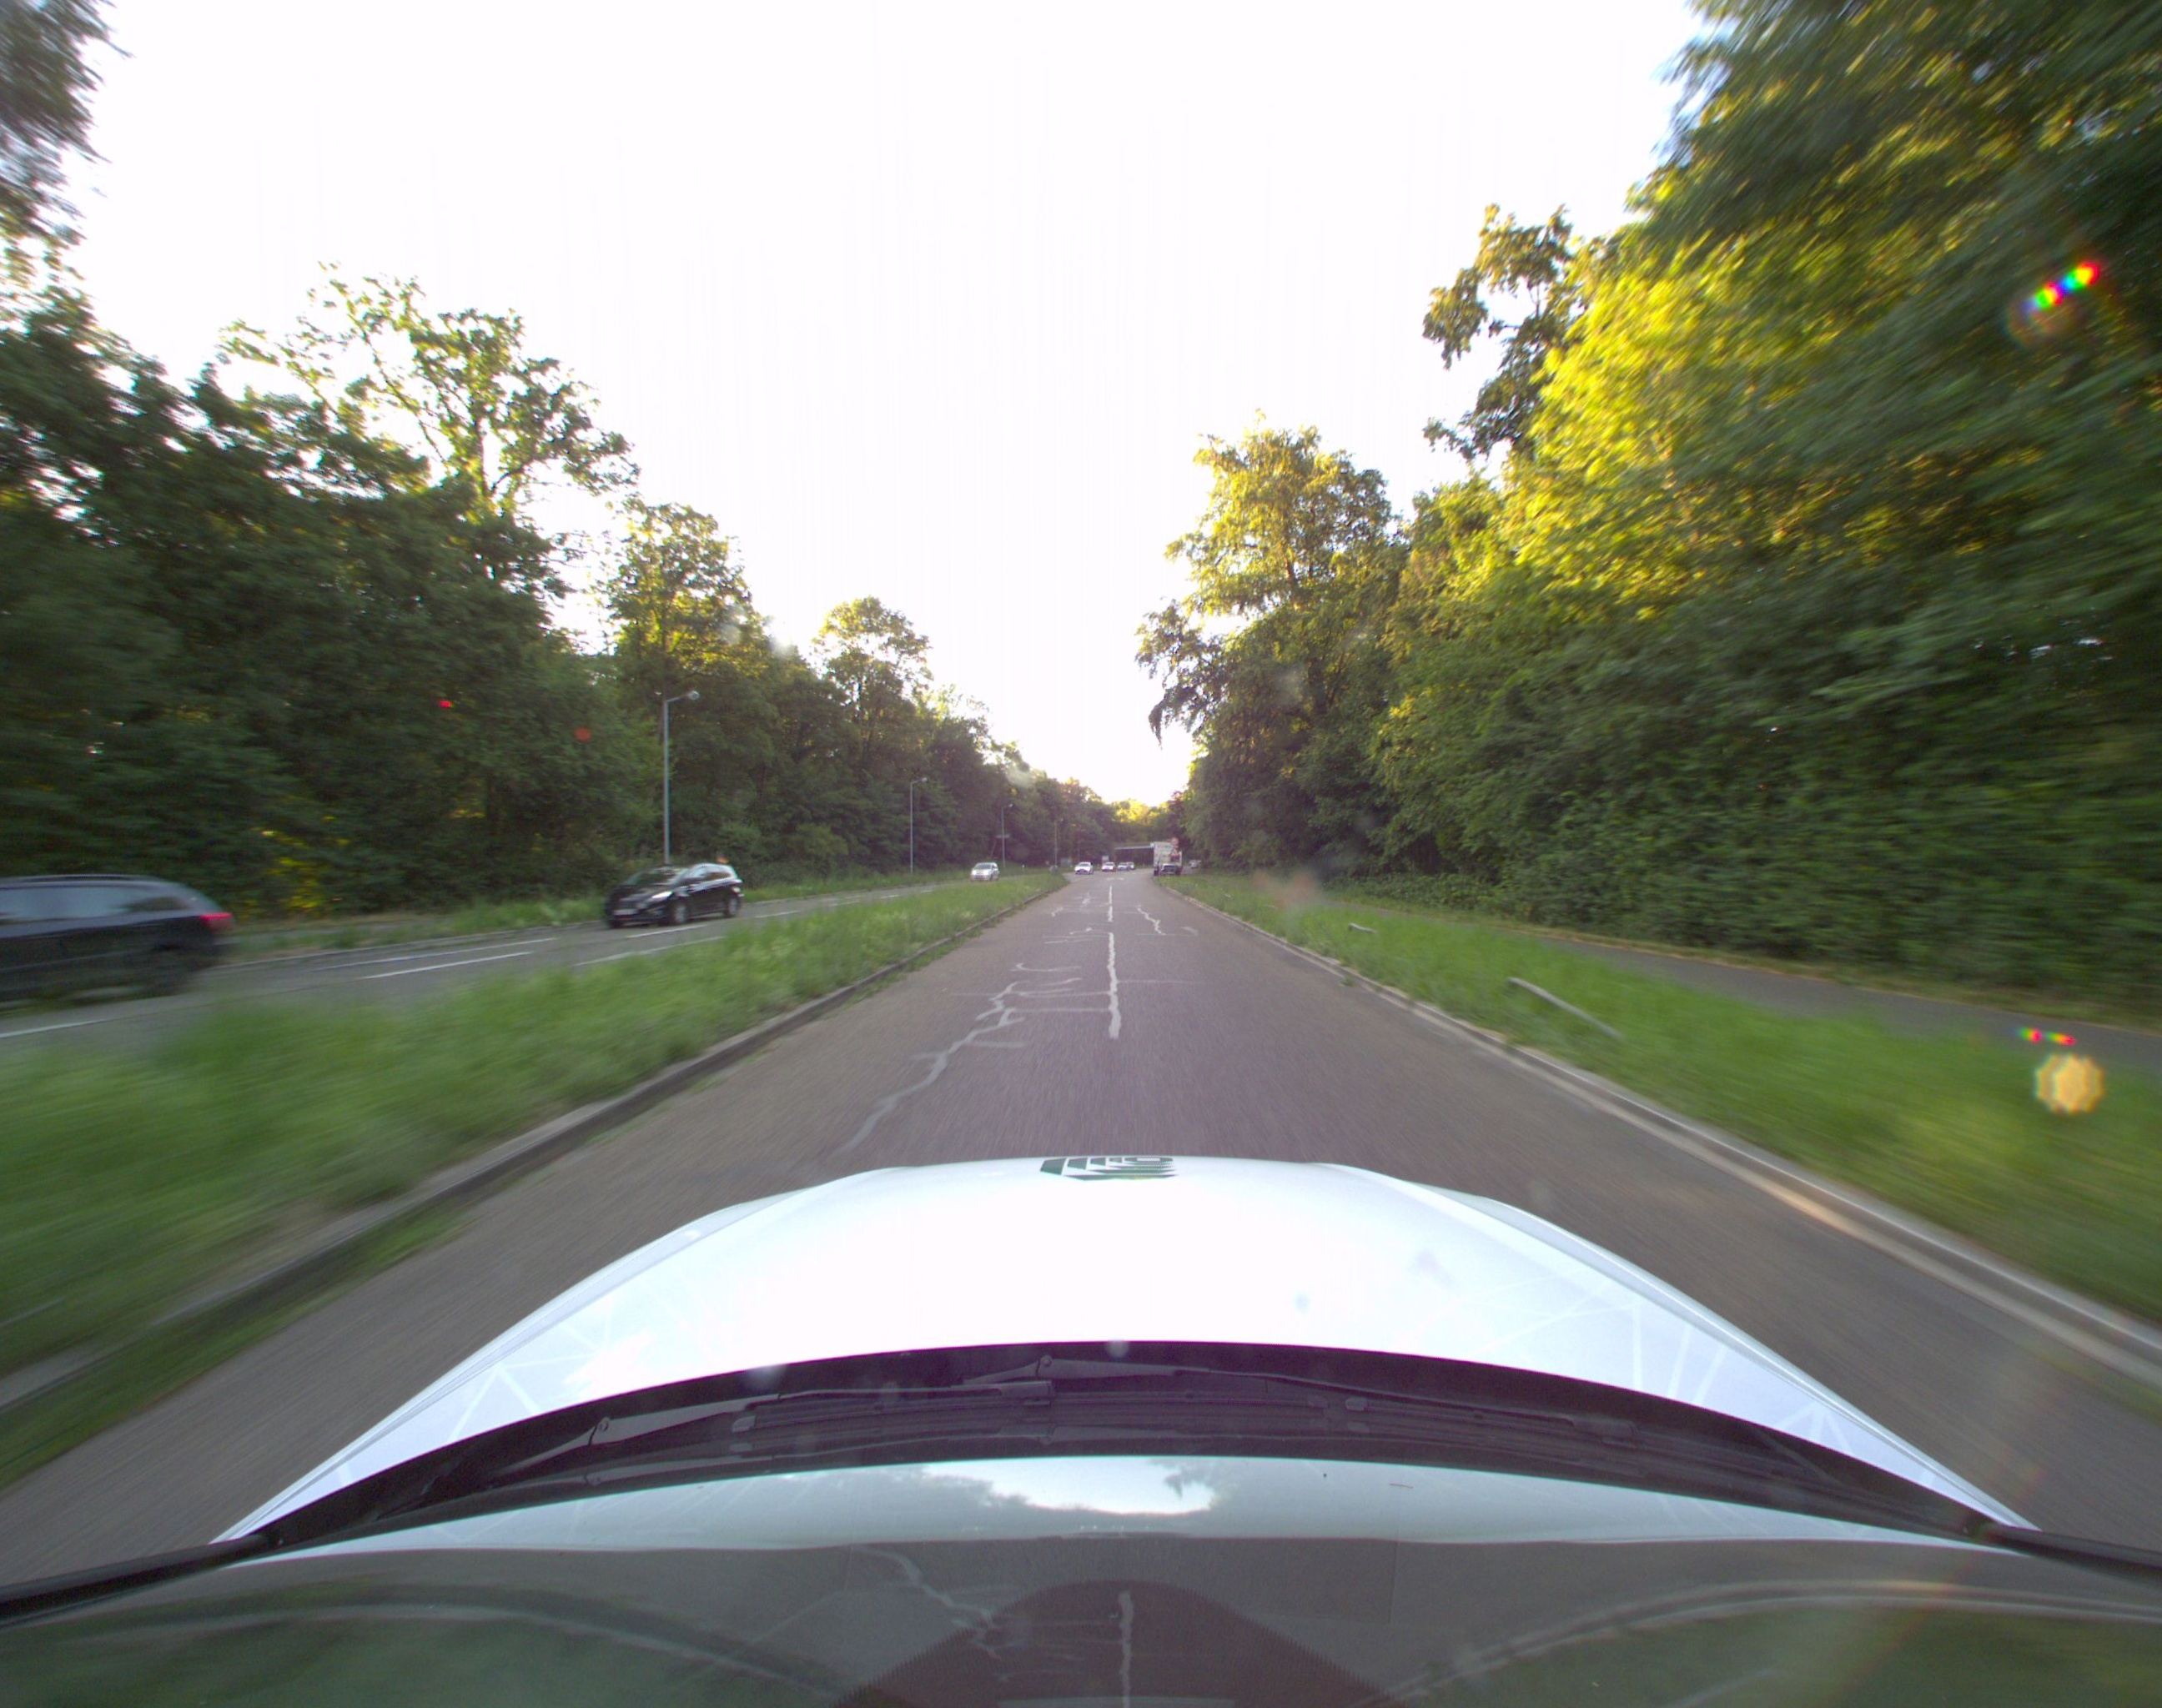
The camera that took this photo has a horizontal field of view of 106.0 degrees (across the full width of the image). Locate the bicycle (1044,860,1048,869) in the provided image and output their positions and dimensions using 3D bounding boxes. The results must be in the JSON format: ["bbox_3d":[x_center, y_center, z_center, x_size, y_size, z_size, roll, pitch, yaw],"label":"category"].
[{"bbox_3d":[-5.262,1.588,122.891,0.628,1.217,2.260,-1,0,-2],"label":"bicycle"}]

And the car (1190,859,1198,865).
[{"bbox_3d":[26.785,1.942,192.994,1.881,1.447,4.119,-1,-1,8],"label":"car"}]

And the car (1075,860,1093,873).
[{"bbox_3d":[0.424,1.537,99.651,1.827,1.507,3.943,-1,-2,6],"label":"car"}]

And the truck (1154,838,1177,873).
[{"bbox_3d":[10.268,0.164,98.552,2.644,4.027,9.739,0,0,6],"label":"truck"}]

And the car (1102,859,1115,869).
[{"bbox_3d":[4.202,1.537,125.381,1.707,1.446,4.180,-1,0,6],"label":"car"}]

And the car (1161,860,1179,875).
[{"bbox_3d":[9.163,1.378,84.022,1.691,1.406,4.079,-1,-1,3],"label":"car"}]

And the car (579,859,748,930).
[{"bbox_3d":[-11.080,1.003,22.088,1.986,1.627,4.653,-2,-1,2],"label":"car"}]

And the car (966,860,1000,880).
[{"bbox_3d":[-7.645,1.291,63.882,1.985,1.458,3.814,-1,-2,4],"label":"car"}]

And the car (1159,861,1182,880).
[{"bbox_3d":[6.999,1.294,63.994,1.655,1.405,3.947,2,0,5],"label":"car"}]

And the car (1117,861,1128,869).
[{"bbox_3d":[7.116,1.855,139.526,1.711,1.397,4.383,0,0,7],"label":"car"}]

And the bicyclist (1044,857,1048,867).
[{"bbox_3d":[-5.274,1.183,122.862,0.618,1.511,0.846,-1,0,-2],"label":"bicyclist"}]

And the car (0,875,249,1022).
[{"bbox_3d":[-12.149,1.043,8.812,1.816,1.480,4.235,-2,-1,2],"label":"car"}]

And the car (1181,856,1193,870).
[{"bbox_3d":[19.229,1.723,147.629,1.982,2.410,5.837,-2,-2,9],"label":"car"}]

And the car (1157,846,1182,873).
[{"bbox_3d":[9.756,0.643,90.300,2.398,2.858,5.936,0,-1,3],"label":"car"}]
